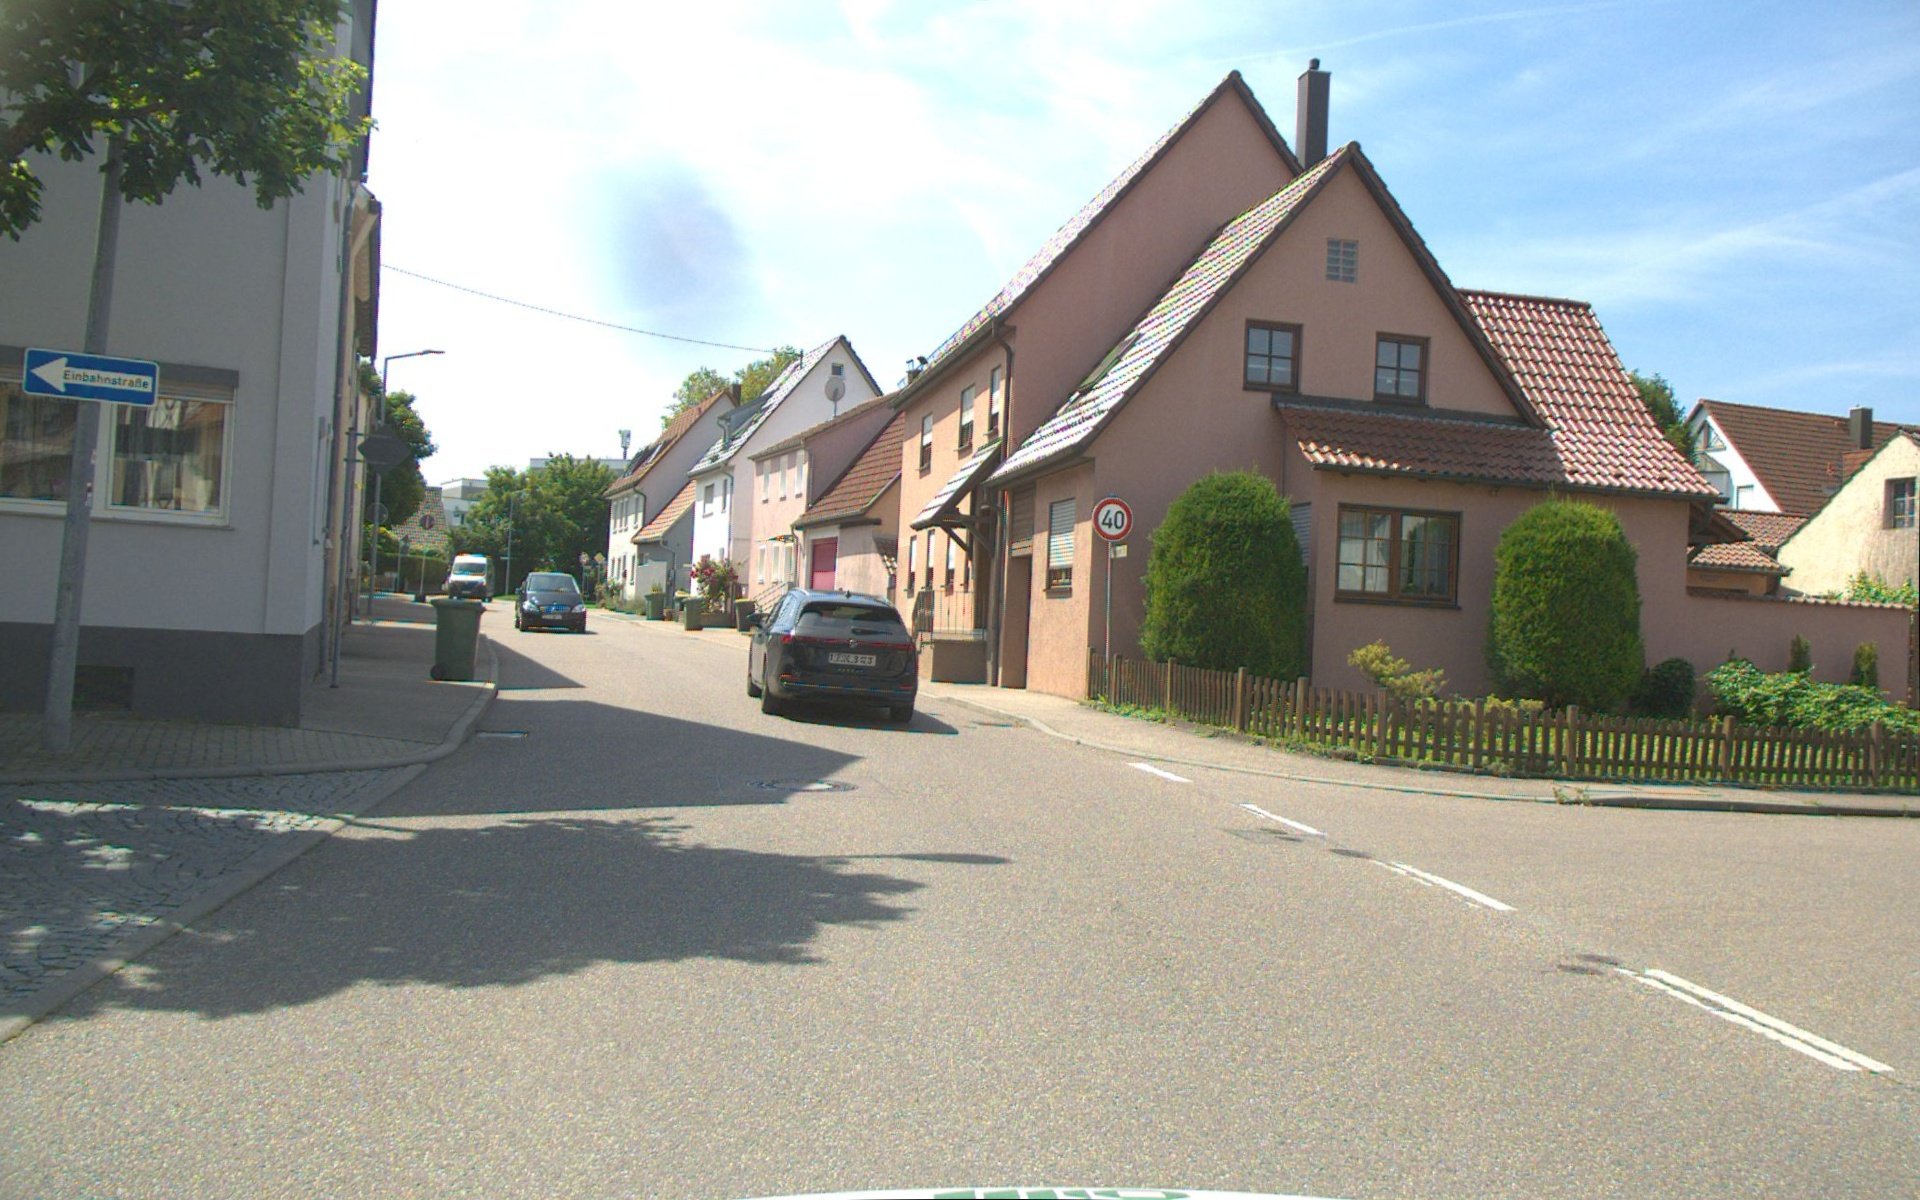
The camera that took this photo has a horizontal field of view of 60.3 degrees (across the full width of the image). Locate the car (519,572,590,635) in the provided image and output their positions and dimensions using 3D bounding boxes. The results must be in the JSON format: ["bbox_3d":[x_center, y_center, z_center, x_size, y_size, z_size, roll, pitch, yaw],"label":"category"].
[{"bbox_3d":[-11.268,0.068,45.869,1.770,1.583,4.054,2,0,-15],"label":"car"}]

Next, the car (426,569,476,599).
[{"bbox_3d":[-38.147,-1.153,124.064,2.084,2.048,4.937,4,0,0],"label":"car"}]

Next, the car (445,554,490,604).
[{"bbox_3d":[-27.429,-1.172,92.037,2.082,2.607,5.796,3,0,-19],"label":"car"}]

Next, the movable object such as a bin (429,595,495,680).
[{"bbox_3d":[-6.698,0.501,22.262,0.741,1.078,0.677,4,0,-14],"label":"movable object such as a bin"}]

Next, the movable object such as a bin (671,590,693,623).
[{"bbox_3d":[-10.777,0.263,64.038,0.655,1.215,0.656,4,-1,-20],"label":"movable object such as a bin"}]

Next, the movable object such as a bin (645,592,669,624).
[{"bbox_3d":[-11.737,0.302,64.092,0.669,1.175,0.814,4,-1,-24],"label":"movable object such as a bin"}]

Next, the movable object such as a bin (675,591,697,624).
[{"bbox_3d":[-10.513,0.301,63.402,0.655,1.215,0.584,4,-1,-20],"label":"movable object such as a bin"}]

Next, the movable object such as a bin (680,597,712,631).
[{"bbox_3d":[-8.792,0.453,55.128,0.864,1.093,0.866,-1,1,-24],"label":"movable object such as a bin"}]

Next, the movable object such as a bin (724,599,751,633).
[{"bbox_3d":[-7.356,0.519,54.683,0.669,1.068,0.829,-1,1,-24],"label":"movable object such as a bin"}]

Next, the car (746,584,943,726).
[{"bbox_3d":[-1.544,0.590,20.375,1.808,1.444,4.670,3,0,-11],"label":"car"}]
